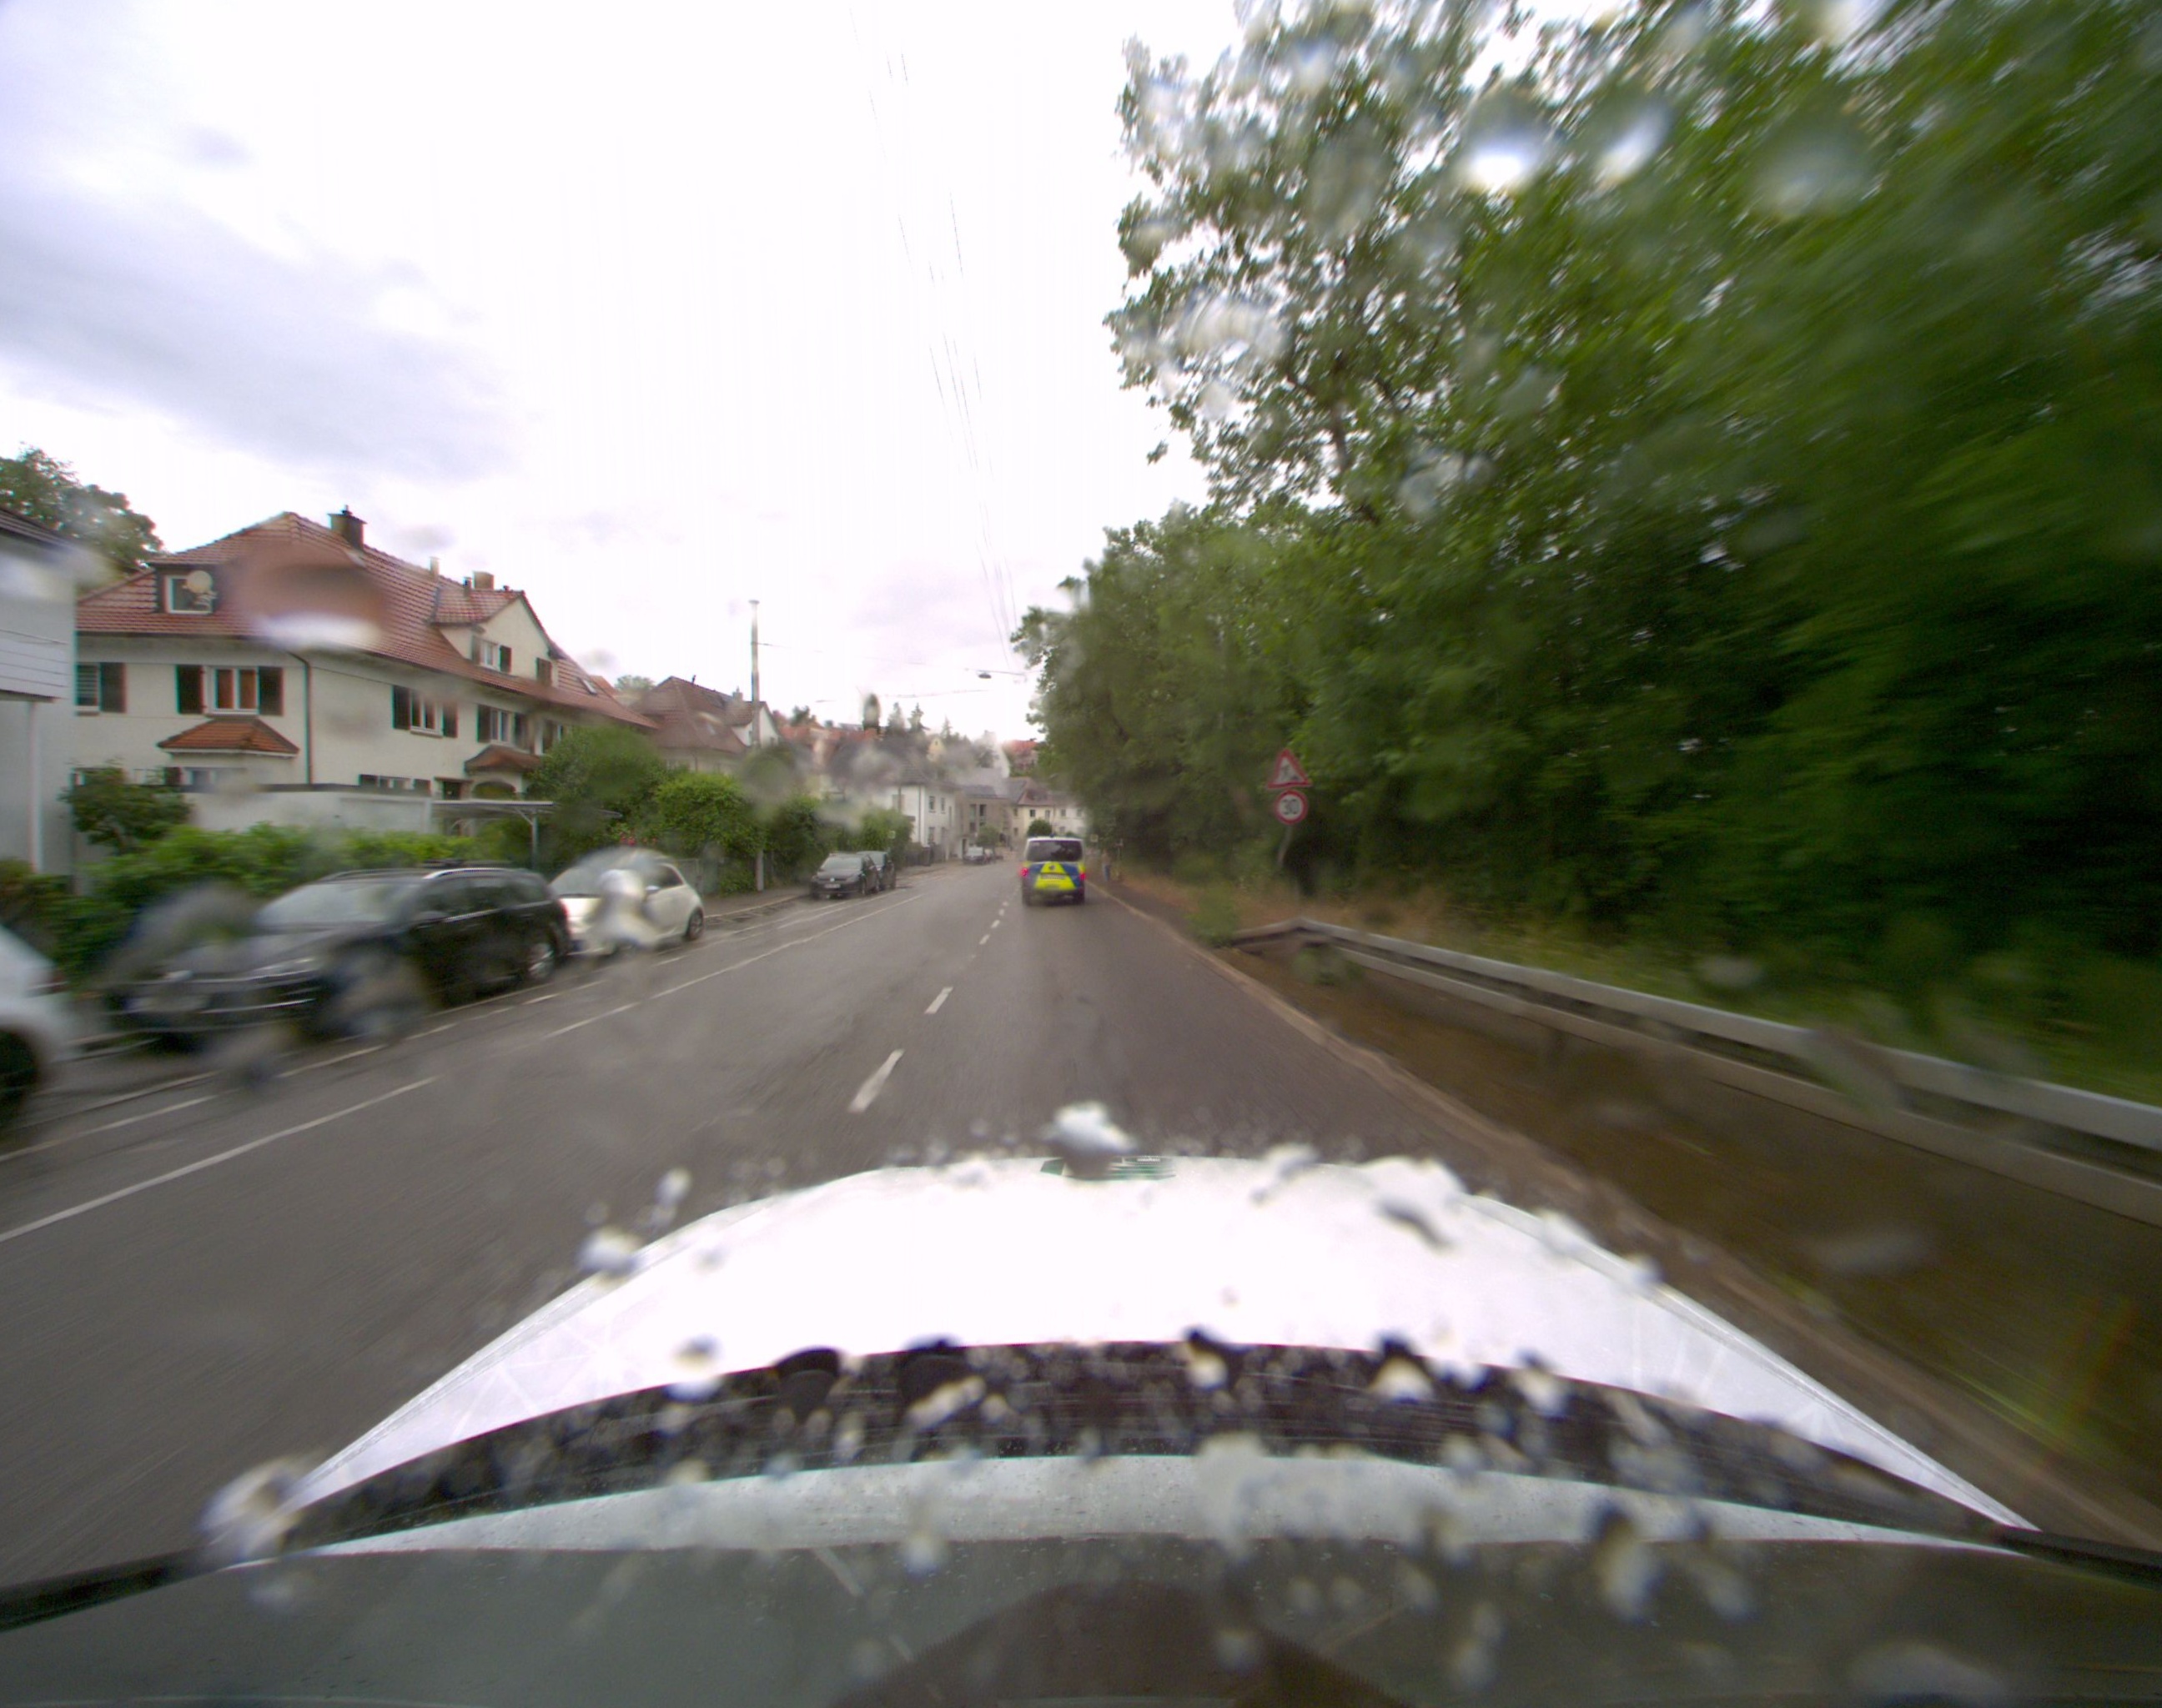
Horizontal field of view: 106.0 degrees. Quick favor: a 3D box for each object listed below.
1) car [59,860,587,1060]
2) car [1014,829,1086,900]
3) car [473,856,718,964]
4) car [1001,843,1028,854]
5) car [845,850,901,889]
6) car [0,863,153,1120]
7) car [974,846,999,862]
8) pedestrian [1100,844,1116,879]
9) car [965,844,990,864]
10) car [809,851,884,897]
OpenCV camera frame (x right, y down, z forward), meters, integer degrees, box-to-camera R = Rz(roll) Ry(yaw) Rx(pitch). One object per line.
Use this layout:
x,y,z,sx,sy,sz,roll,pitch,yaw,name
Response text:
-7.387,0.869,8.727,1.695,1.524,4.417,1,0,-4,car
-0.858,0.328,25.370,1.986,2.014,4.402,0,-1,1,car
-7.676,0.800,13.339,1.692,1.468,3.712,1,0,1,car
-9.479,-0.802,115.886,1.849,1.443,3.954,0,2,-41,car
-8.297,0.591,32.686,1.515,1.454,3.027,-1,1,-2,car
-6.916,0.840,3.222,1.729,1.421,4.278,1,2,-4,car
-9.257,0.010,79.981,1.608,1.440,4.237,1,1,5,car
1.238,0.337,37.404,0.640,1.611,0.669,1,-1,-4,pedestrian
-9.498,-0.035,74.827,1.749,1.658,4.404,-1,1,-1,car
-8.107,0.631,28.512,1.685,1.418,4.208,-1,1,-5,car
